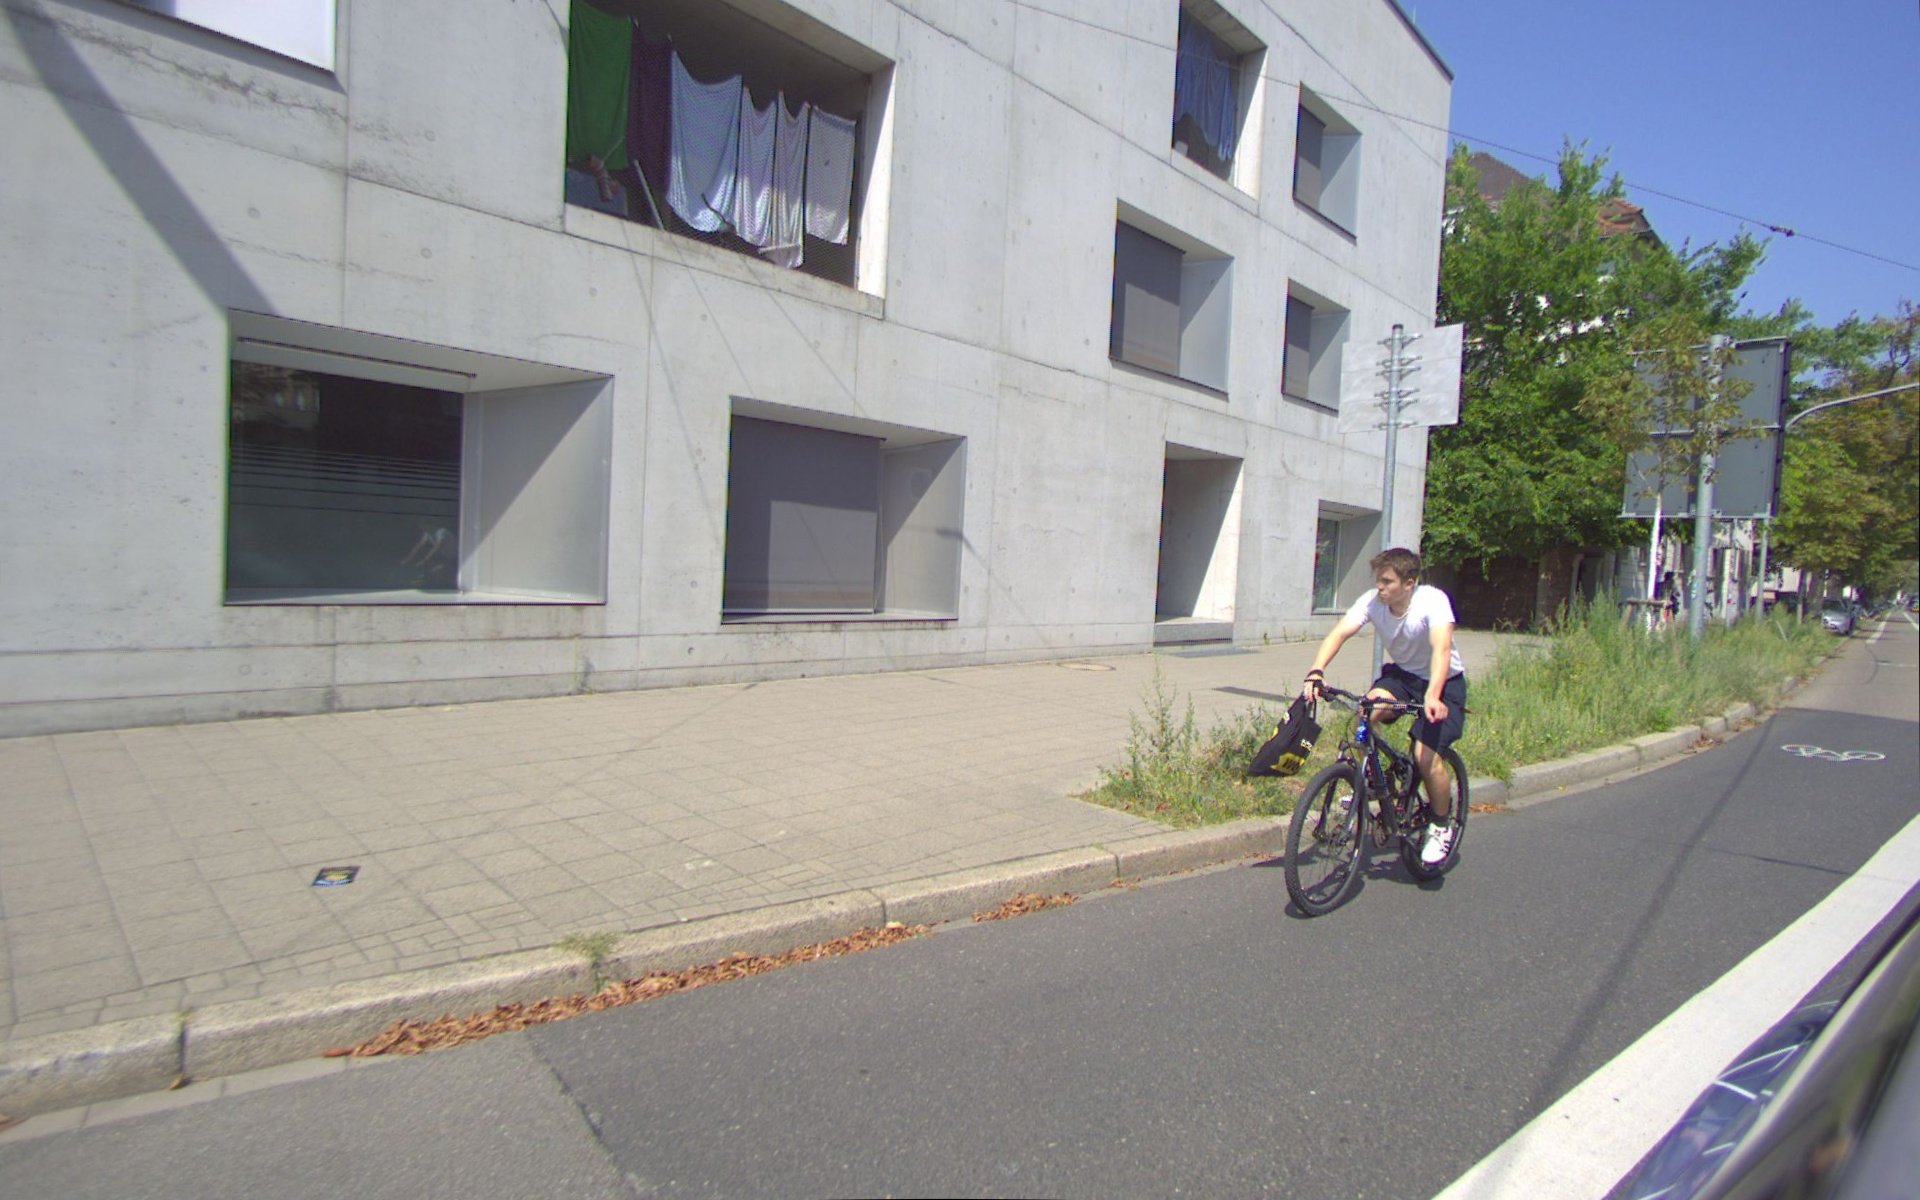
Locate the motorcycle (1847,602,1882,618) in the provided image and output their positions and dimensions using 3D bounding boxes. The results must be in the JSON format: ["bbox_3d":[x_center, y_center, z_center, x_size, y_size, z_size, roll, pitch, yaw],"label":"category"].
[{"bbox_3d":[72.880,0.772,81.563,1.997,1.026,0.784,10,6,44],"label":"motorcycle"}]

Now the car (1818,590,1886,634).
[{"bbox_3d":[34.444,0.414,39.128,1.782,1.468,4.680,6,4,41],"label":"car"}]

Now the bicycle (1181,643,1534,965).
[{"bbox_3d":[1.969,0.797,4.777,0.739,1.061,2.198,5,3,43],"label":"bicycle"}]

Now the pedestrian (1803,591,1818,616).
[{"bbox_3d":[63.057,0.278,75.031,0.748,1.807,0.622,5,3,44],"label":"pedestrian"}]

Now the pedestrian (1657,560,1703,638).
[{"bbox_3d":[16.907,-0.027,23.767,0.570,1.753,0.693,1,3,-44],"label":"pedestrian"}]

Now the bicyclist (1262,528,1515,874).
[{"bbox_3d":[2.042,0.406,4.805,0.745,1.429,0.946,5,3,44],"label":"bicyclist"}]

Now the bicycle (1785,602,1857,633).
[{"bbox_3d":[31.832,0.628,37.447,0.708,0.964,1.926,1,4,-43],"label":"bicycle"}]

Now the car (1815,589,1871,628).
[{"bbox_3d":[39.520,0.359,45.352,1.662,1.525,4.371,6,4,39],"label":"car"}]

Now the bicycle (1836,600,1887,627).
[{"bbox_3d":[43.041,0.652,48.331,1.756,1.136,0.645,5,3,44],"label":"bicycle"}]

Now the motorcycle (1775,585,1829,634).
[{"bbox_3d":[29.190,0.315,35.078,2.368,1.571,0.888,1,4,-39],"label":"motorcycle"}]
